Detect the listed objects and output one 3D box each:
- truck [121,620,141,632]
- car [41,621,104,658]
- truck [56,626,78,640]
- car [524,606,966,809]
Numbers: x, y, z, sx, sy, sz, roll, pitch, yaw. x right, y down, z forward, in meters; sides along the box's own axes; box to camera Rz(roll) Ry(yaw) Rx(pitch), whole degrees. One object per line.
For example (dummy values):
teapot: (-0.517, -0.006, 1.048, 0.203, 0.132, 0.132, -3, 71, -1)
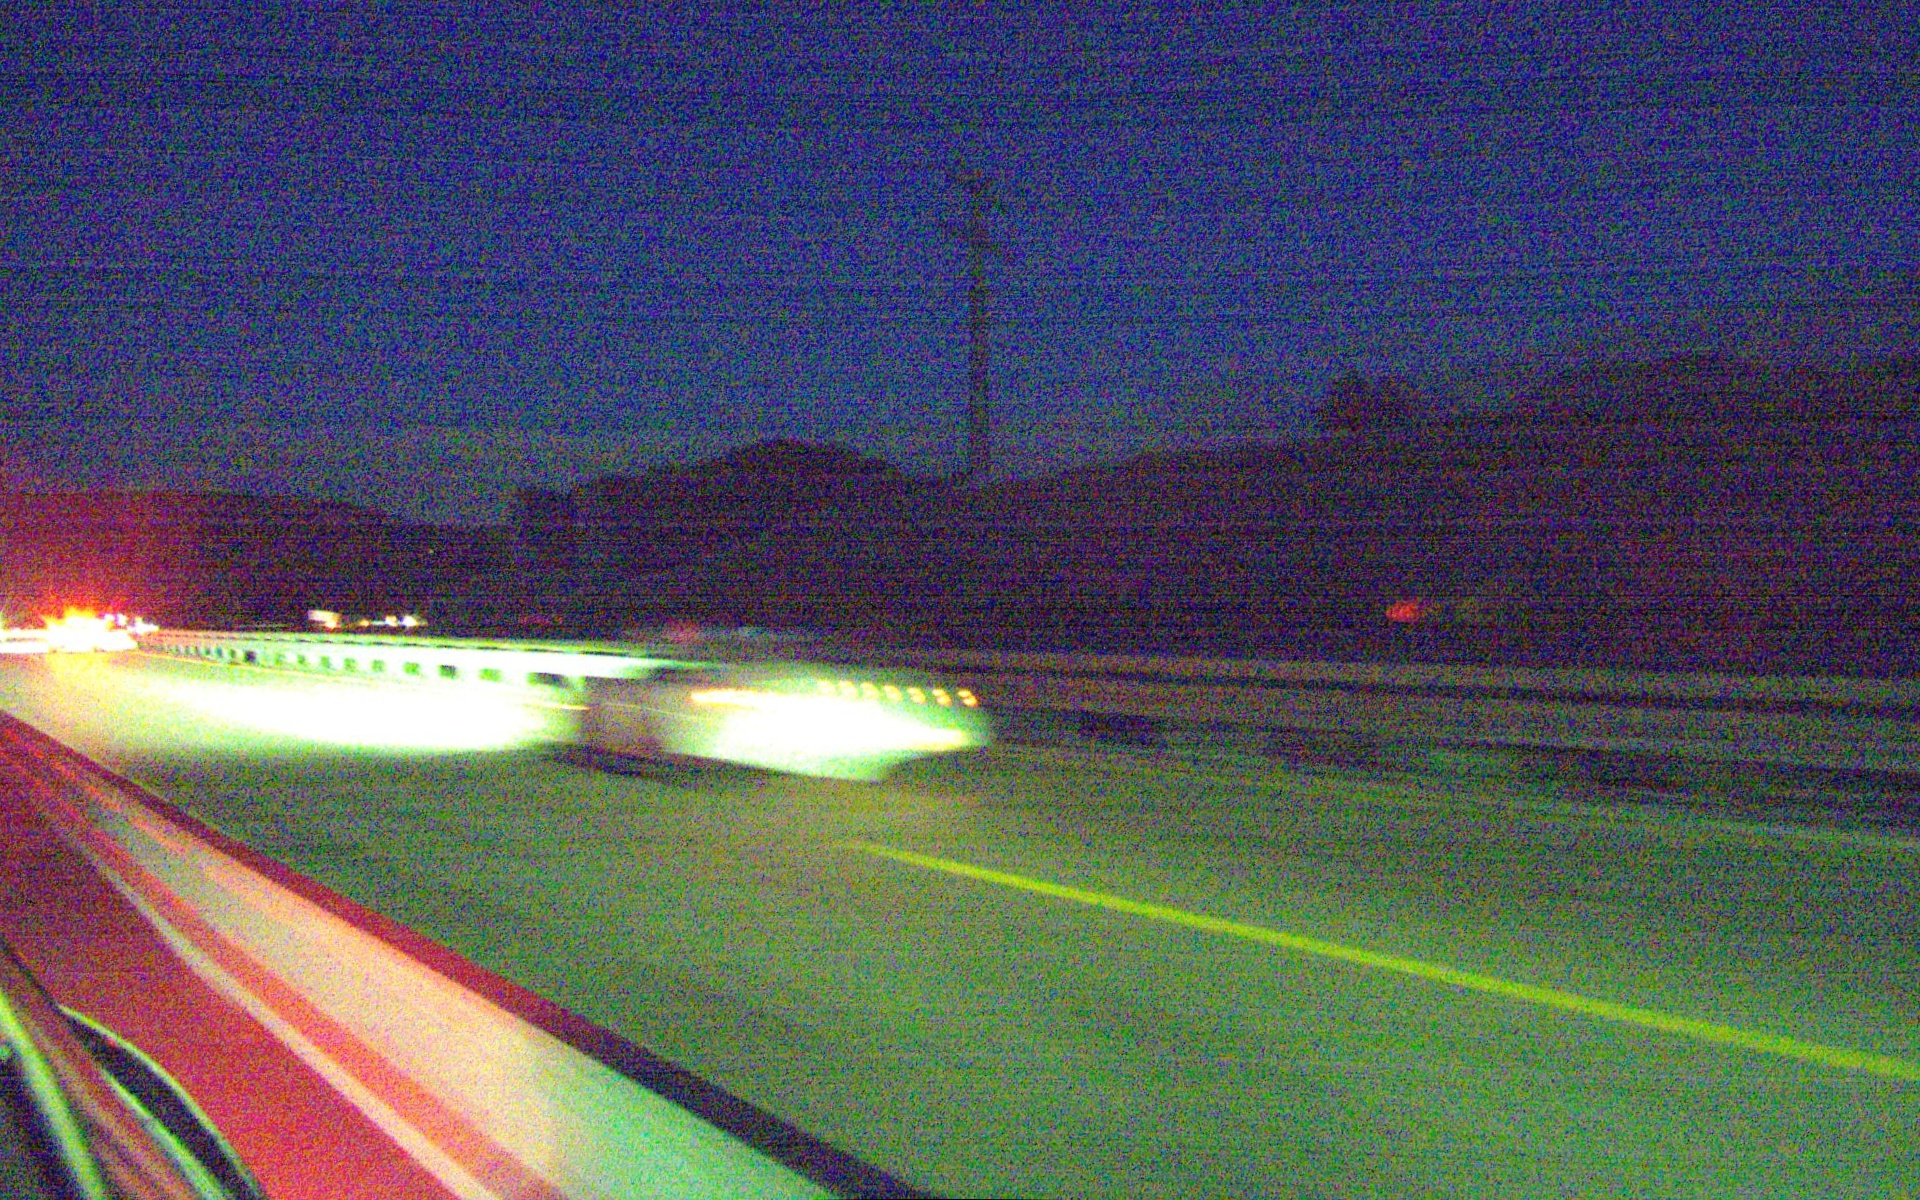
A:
truck: (-164.560, 5.168, 200.927, 2.388, 2.443, 7.109, 2, -2, -35)
car: (-39.411, 1.710, 44.905, 4.487, 1.454, 1.693, -1, 0, 43)
truck: (-98.023, 3.596, 111.140, 1.662, 1.481, 4.160, -1, 0, -40)
car: (-2.100, 0.787, 9.072, 4.242, 1.390, 1.698, -1, -1, 42)
